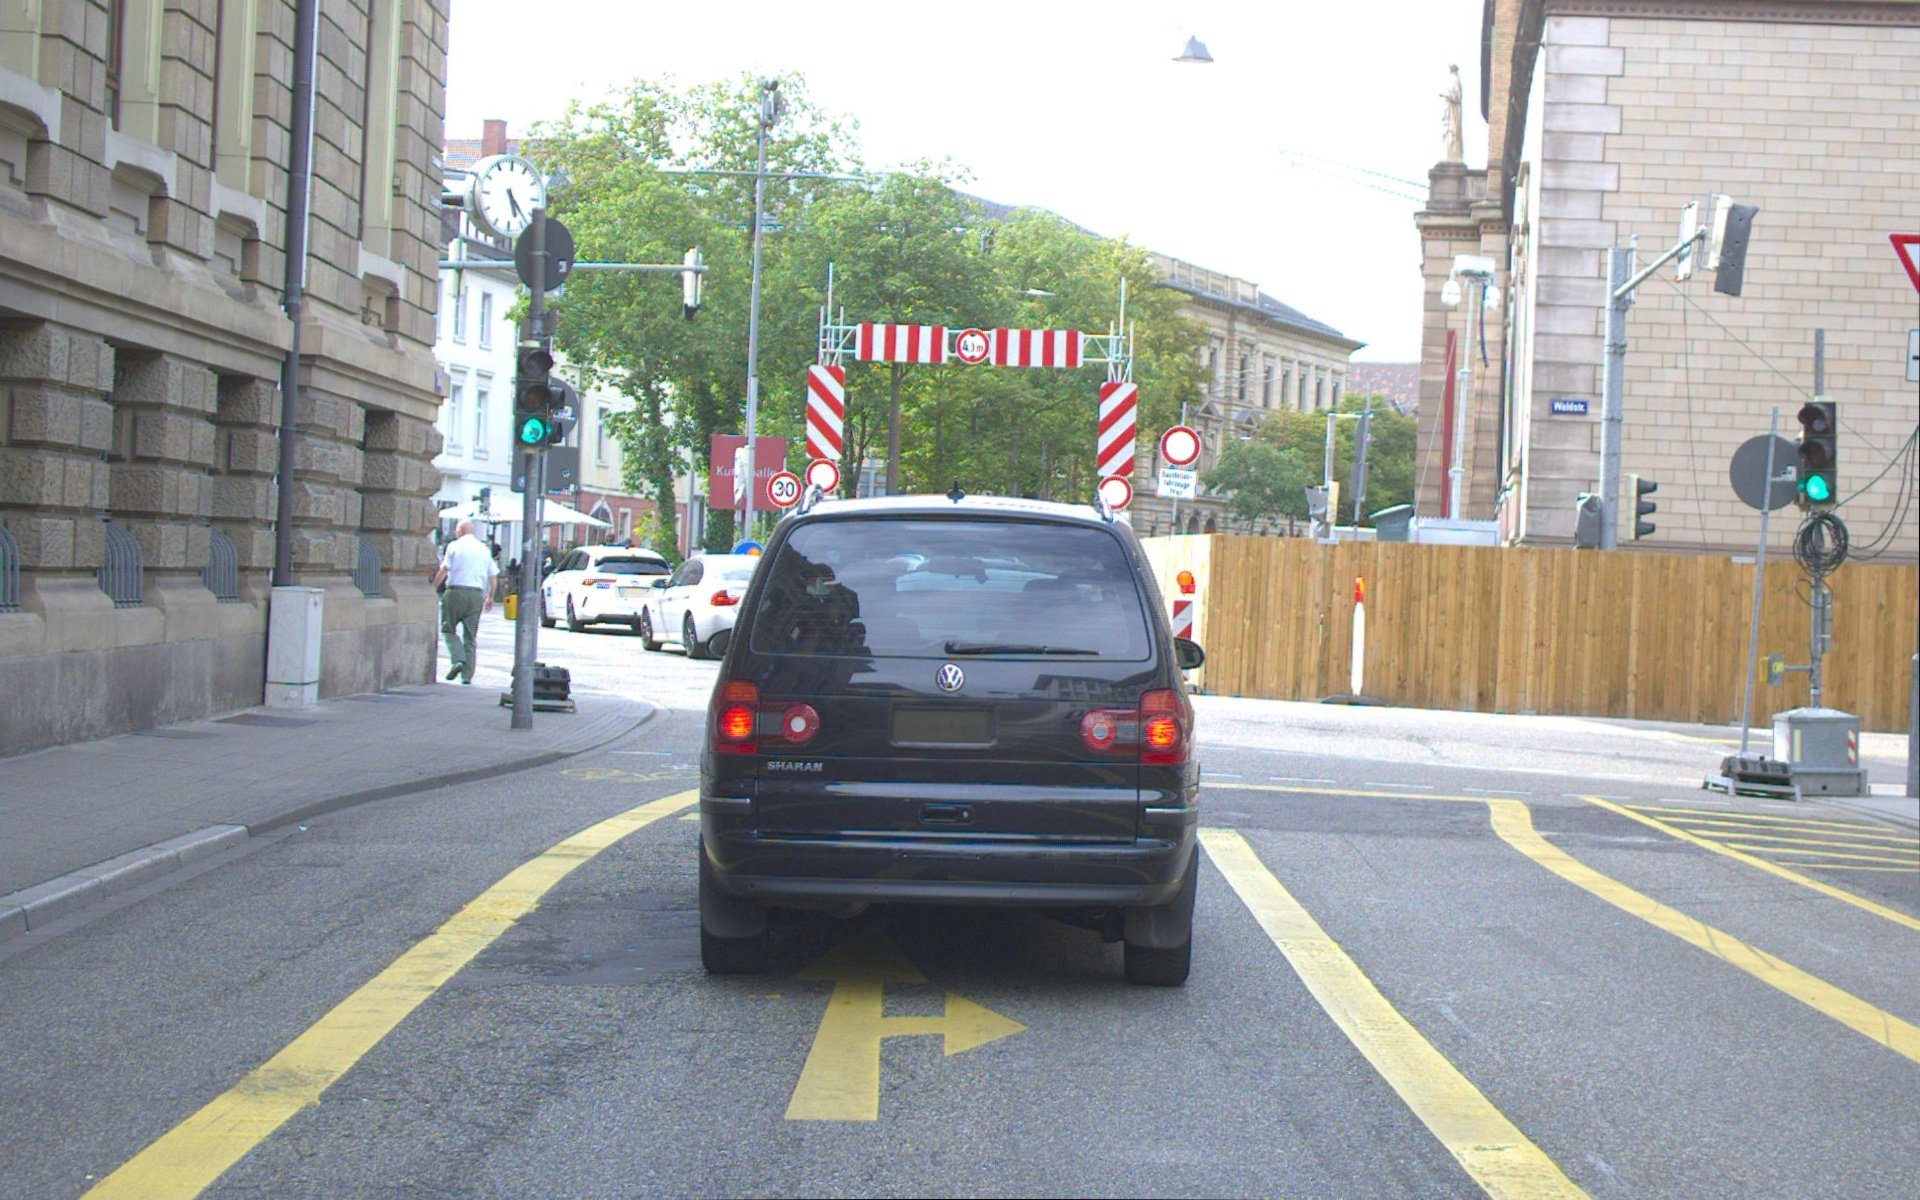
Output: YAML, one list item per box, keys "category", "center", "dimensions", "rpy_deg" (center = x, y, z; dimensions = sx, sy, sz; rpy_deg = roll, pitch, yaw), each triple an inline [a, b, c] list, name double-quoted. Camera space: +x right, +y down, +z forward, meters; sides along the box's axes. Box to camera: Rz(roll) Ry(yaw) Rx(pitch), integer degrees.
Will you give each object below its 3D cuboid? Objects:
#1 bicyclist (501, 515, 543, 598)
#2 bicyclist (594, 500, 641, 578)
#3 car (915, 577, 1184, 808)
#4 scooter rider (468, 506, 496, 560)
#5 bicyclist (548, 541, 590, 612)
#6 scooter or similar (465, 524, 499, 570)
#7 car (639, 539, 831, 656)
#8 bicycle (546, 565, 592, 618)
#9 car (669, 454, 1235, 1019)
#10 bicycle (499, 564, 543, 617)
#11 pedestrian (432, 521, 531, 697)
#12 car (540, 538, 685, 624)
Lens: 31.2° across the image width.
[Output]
- category: "bicyclist"
  center: [-8.685, -0.862, 68.125]
  dimensions: [0.735, 1.606, 0.695]
  rpy_deg: [2, 0, -11]
- category: "bicyclist"
  center: [-7.944, -1.404, 79.824]
  dimensions: [0.965, 1.776, 0.986]
  rpy_deg: [2, 0, -1]
- category: "car"
  center: [0.567, 0.601, 24.884]
  dimensions: [1.678, 1.464, 4.103]
  rpy_deg: [2, 0, -1]
- category: "scooter rider"
  center: [-13.364, -1.867, 96.161]
  dimensions: [0.599, 1.485, 0.679]
  rpy_deg: [2, 0, 5]
- category: "bicyclist"
  center: [-7.763, -0.472, 68.276]
  dimensions: [0.735, 1.371, 0.832]
  rpy_deg: [2, 0, -10]
- category: "scooter or similar"
  center: [-13.372, -1.468, 96.200]
  dimensions: [0.599, 1.251, 1.552]
  rpy_deg: [2, 0, 4]
- category: "car"
  center: [-3.146, -0.054, 47.377]
  dimensions: [1.703, 1.496, 4.001]
  rpy_deg: [2, 0, -17]
- category: "bicycle"
  center: [-7.780, -0.180, 68.358]
  dimensions: [0.735, 1.005, 2.069]
  rpy_deg: [2, 0, -10]
- category: "car"
  center: [0.056, 0.437, 13.380]
  dimensions: [1.790, 1.784, 4.103]
  rpy_deg: [3, 0, 2]
- category: "bicycle"
  center: [-8.711, -0.202, 68.166]
  dimensions: [0.735, 1.005, 2.069]
  rpy_deg: [2, 0, -10]
- category: "pedestrian"
  center: [-5.136, 0.086, 36.872]
  dimensions: [0.792, 1.813, 1.048]
  rpy_deg: [4, 0, -16]
- category: "car"
  center: [-5.760, -0.323, 56.654]
  dimensions: [1.649, 1.317, 3.676]
  rpy_deg: [2, 0, -17]
